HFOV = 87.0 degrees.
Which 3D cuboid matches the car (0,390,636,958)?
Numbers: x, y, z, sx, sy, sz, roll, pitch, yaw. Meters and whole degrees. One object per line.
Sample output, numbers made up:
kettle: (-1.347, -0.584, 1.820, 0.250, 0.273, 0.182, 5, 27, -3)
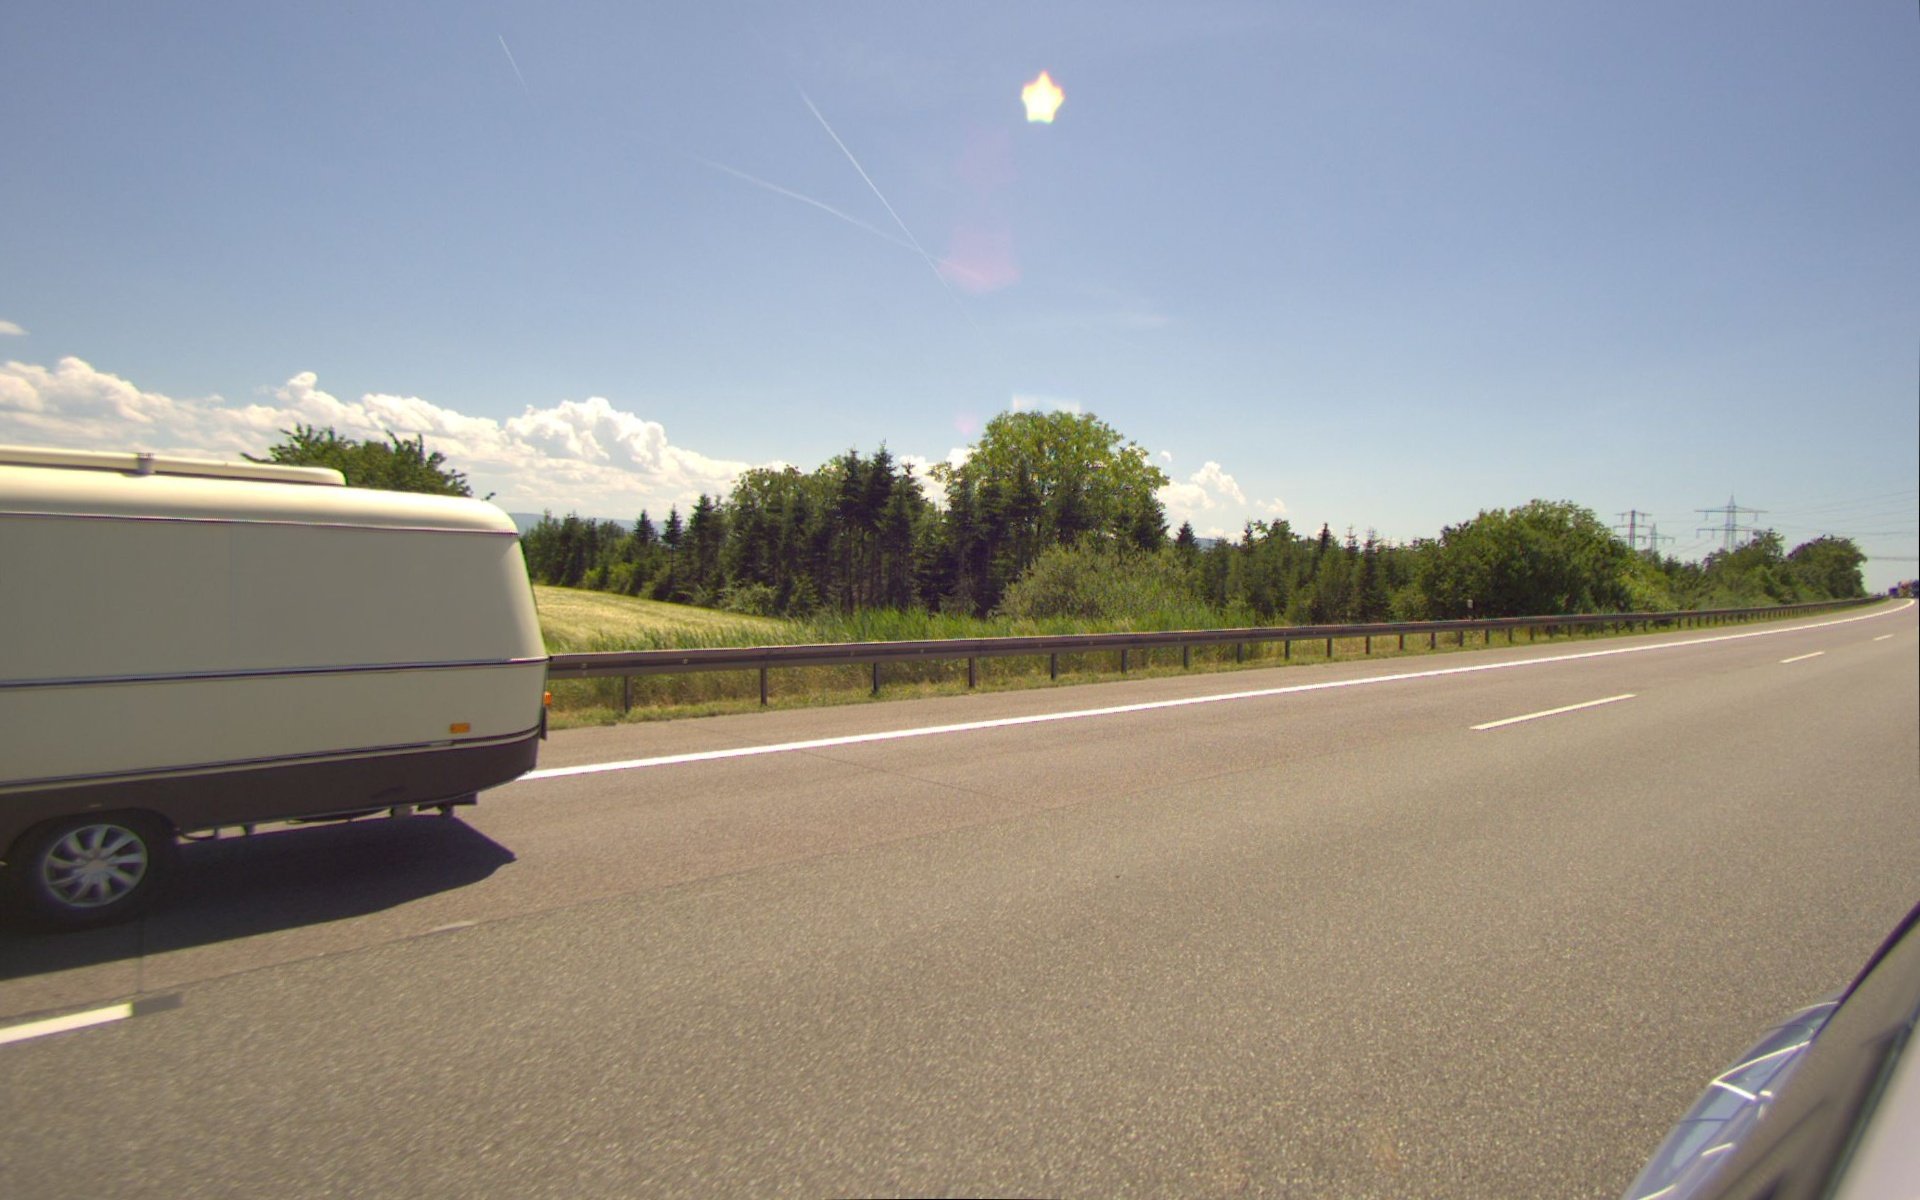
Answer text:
car: (-4.701, 0.269, 5.163, 5.229, 2.350, 2.446, 1, 1, -42)
